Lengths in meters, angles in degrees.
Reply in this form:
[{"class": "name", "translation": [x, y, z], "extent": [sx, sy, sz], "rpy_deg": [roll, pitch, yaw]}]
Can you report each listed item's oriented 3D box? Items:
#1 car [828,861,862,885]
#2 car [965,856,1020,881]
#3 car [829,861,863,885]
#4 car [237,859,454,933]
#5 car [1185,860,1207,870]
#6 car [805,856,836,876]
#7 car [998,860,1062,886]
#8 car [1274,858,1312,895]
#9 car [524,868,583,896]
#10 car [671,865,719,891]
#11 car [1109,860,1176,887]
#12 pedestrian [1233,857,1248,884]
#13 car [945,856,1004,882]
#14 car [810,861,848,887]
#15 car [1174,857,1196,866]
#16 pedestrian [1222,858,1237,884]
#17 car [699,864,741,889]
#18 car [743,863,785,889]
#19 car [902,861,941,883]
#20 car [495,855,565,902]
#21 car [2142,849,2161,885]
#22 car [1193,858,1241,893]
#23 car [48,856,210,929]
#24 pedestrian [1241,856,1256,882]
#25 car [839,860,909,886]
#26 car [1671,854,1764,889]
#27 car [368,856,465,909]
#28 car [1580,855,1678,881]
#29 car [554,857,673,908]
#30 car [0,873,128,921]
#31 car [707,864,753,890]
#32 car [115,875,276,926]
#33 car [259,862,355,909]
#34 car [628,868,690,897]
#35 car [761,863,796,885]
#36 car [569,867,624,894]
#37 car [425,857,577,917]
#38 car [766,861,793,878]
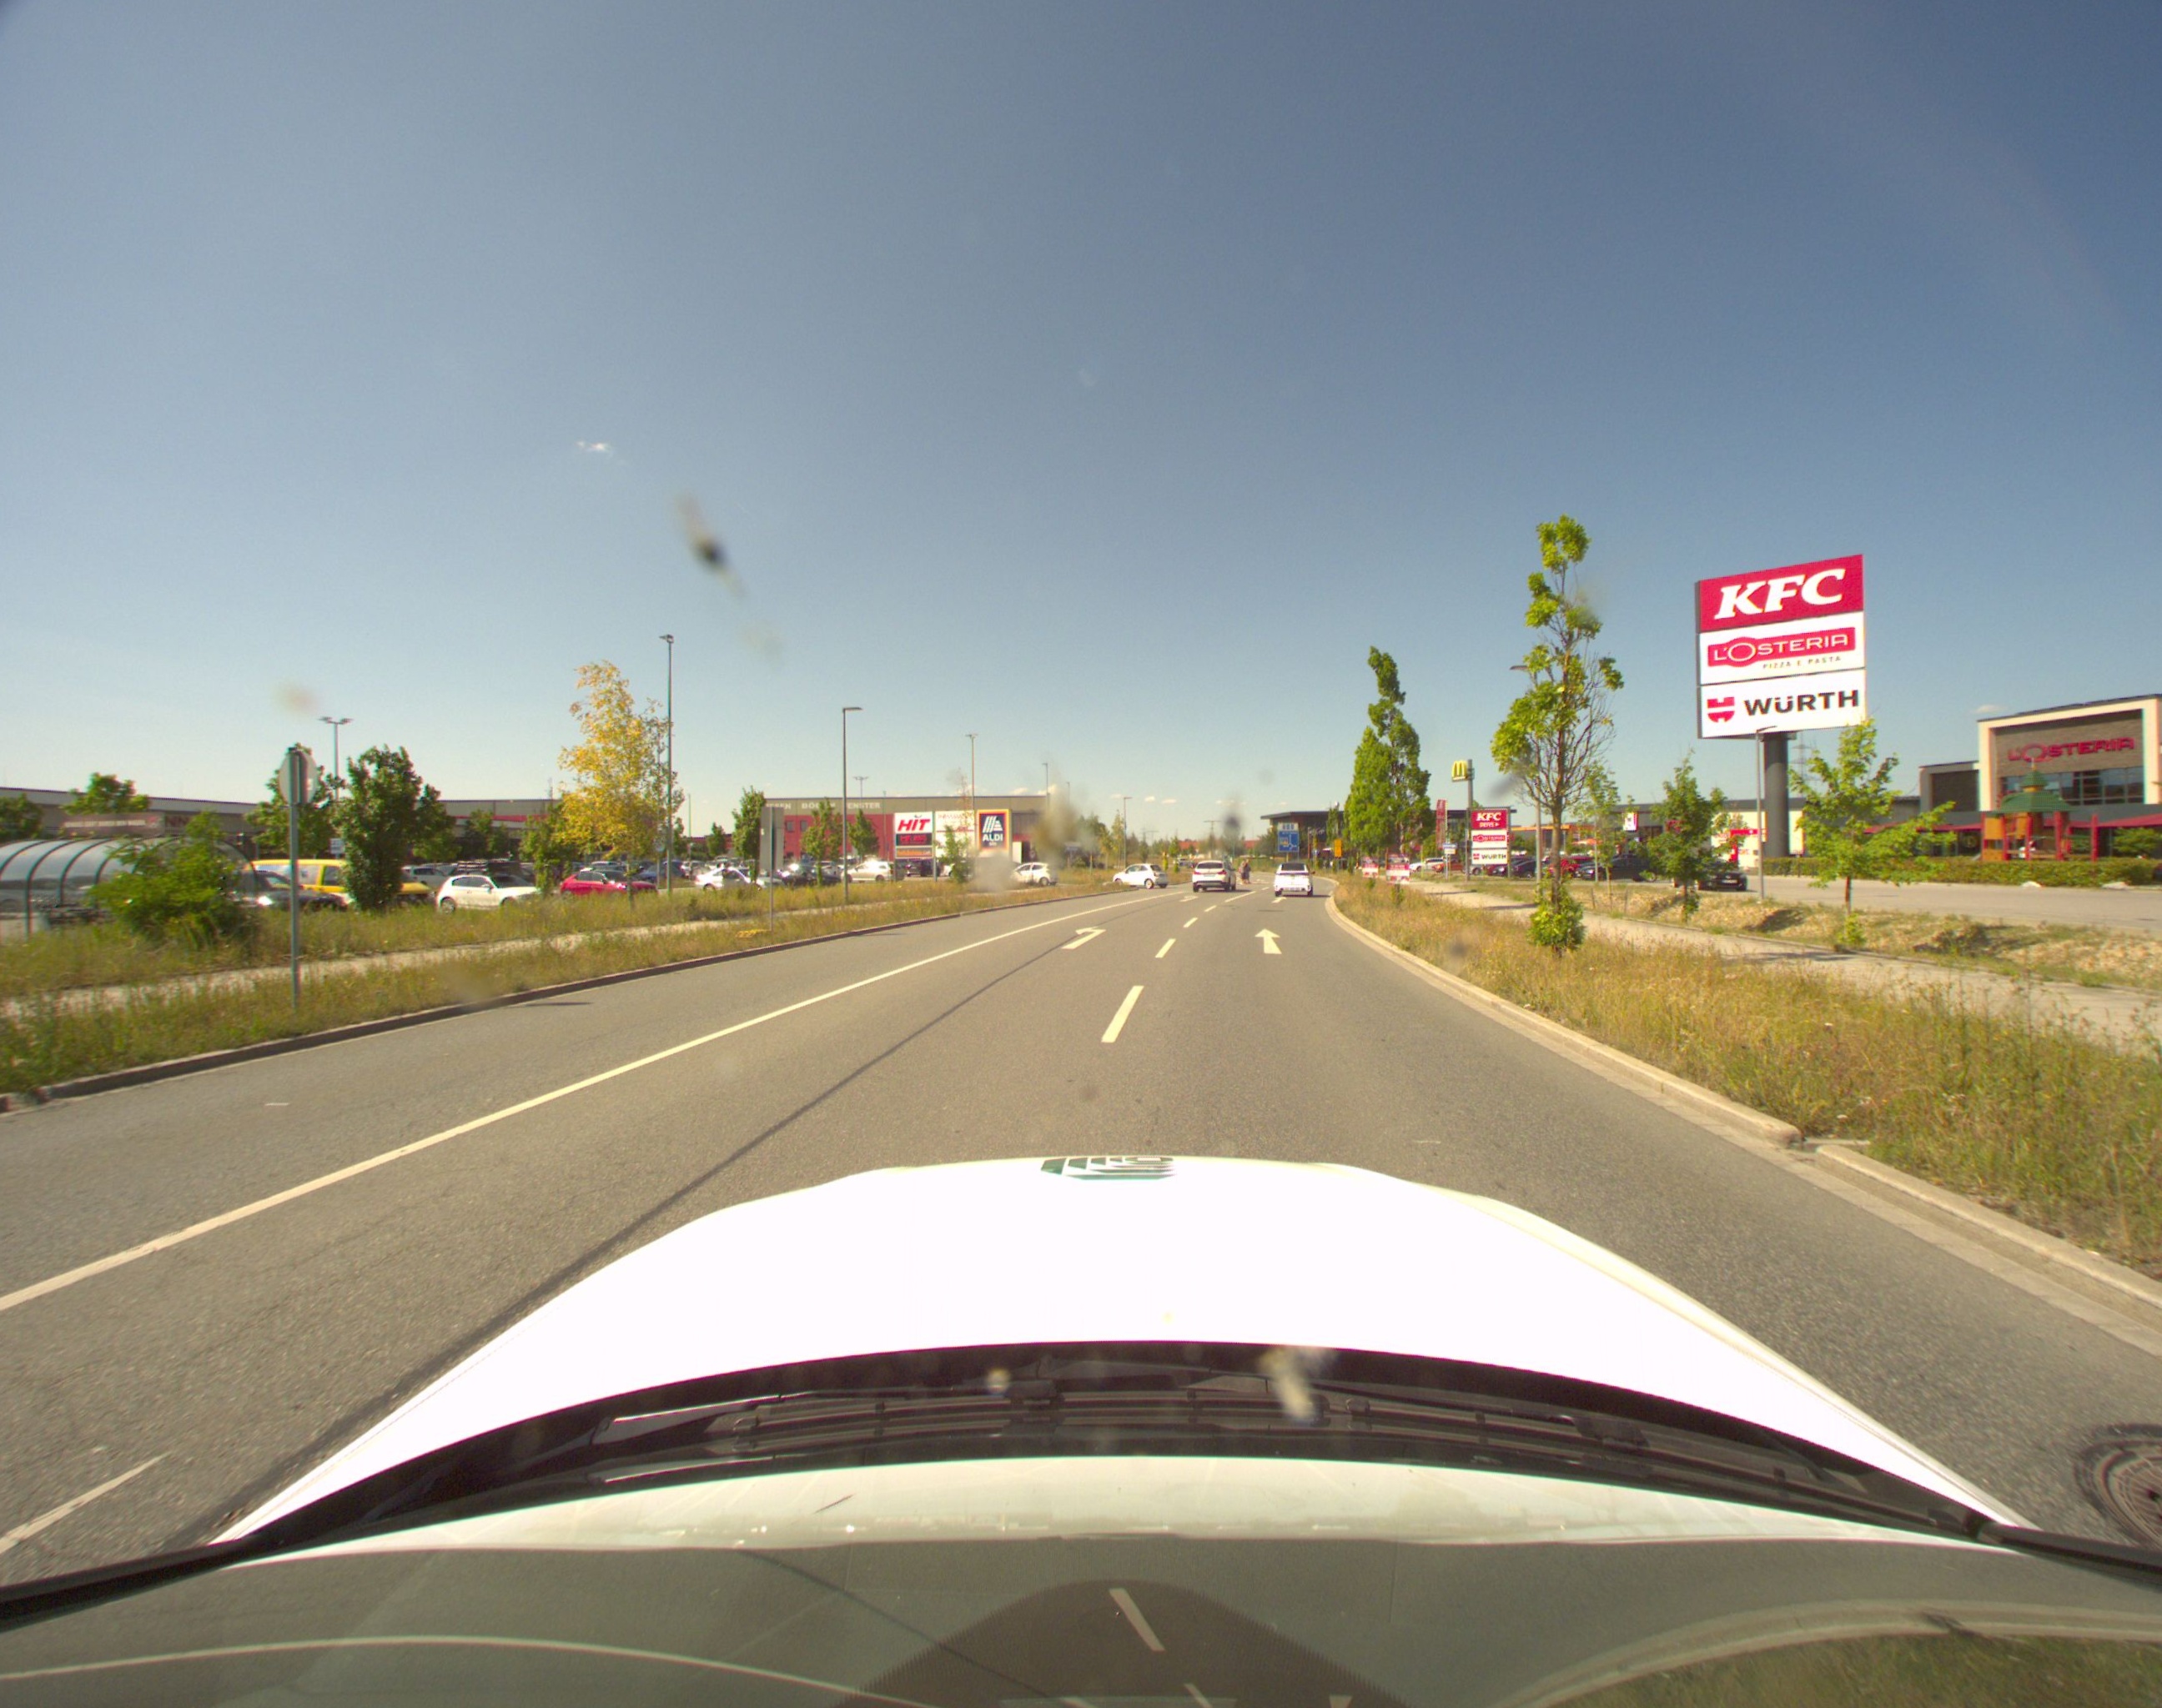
[{"class": "car", "translation": [-21.478, 1.671, 74.186], "extent": [1.989, 2.038, 4.479], "rpy_deg": [-2, 0, -3]}, {"class": "car", "translation": [-7.828, 1.259, 72.518], "extent": [4.445, 2.038, 2.004], "rpy_deg": [-2, -1, 8]}, {"class": "car", "translation": [-21.350, 1.668, 74.210], "extent": [1.989, 2.038, 4.479], "rpy_deg": [-2, 0, -3]}, {"class": "car", "translation": [-21.582, 1.209, 23.956], "extent": [5.064, 2.013, 2.172], "rpy_deg": [-1, 0, 13]}, {"class": "car", "translation": [19.255, 1.845, 136.481], "extent": [1.830, 1.541, 3.970], "rpy_deg": [-1, 0, -22]}, {"class": "car", "translation": [-27.287, 1.263, 85.322], "extent": [1.989, 2.038, 4.479], "rpy_deg": [-2, 0, -3]}, {"class": "car", "translation": [-3.289, 1.252, 52.993], "extent": [3.742, 1.551, 1.749], "rpy_deg": [-2, -1, 16]}, {"class": "car", "translation": [9.270, 0.960, 35.466], "extent": [1.463, 1.490, 3.014], "rpy_deg": [-1, 0, 16]}, {"class": "car", "translation": [-42.379, 2.224, 65.558], "extent": [1.989, 2.038, 4.479], "rpy_deg": [-2, 0, -3]}, {"class": "car", "translation": [-31.857, 1.927, 67.289], "extent": [1.989, 2.038, 4.479], "rpy_deg": [-2, 0, -3]}, {"class": "car", "translation": [3.735, 1.222, 50.069], "extent": [3.734, 1.551, 1.752], "rpy_deg": [-2, -1, 39]}, {"class": "pedestrian", "translation": [10.350, 1.067, 52.779], "extent": [0.658, 1.664, 0.715], "rpy_deg": [-1, -1, 43]}, {"class": "car", "translation": [-8.794, 1.252, 67.581], "extent": [4.445, 2.038, 2.004], "rpy_deg": [-2, -1, 8]}, {"class": "car", "translation": [-21.019, 1.615, 68.148], "extent": [1.989, 2.038, 4.479], "rpy_deg": [-2, 0, -3]}, {"class": "car", "translation": [20.991, 1.509, 163.811], "extent": [4.011, 1.728, 1.981], "rpy_deg": [-1, 0, -29]}, {"class": "pedestrian", "translation": [9.681, 1.090, 53.112], "extent": [0.658, 1.664, 0.715], "rpy_deg": [-1, -1, 43]}, {"class": "car", "translation": [-32.241, 1.978, 72.859], "extent": [1.989, 2.038, 4.479], "rpy_deg": [-2, 0, -3]}, {"class": "car", "translation": [-26.520, 1.778, 68.297], "extent": [1.989, 2.038, 4.479], "rpy_deg": [-2, 0, -3]}, {"class": "car", "translation": [-14.029, 1.574, 71.781], "extent": [1.983, 1.761, 4.493], "rpy_deg": [-2, 0, 7]}, {"class": "car", "translation": [-35.585, 1.542, 52.718], "extent": [1.993, 2.821, 4.470], "rpy_deg": [-2, -1, -9]}, {"class": "car", "translation": [41.456, 0.439, 28.971], "extent": [1.829, 1.338, 4.131], "rpy_deg": [-1, -1, -16]}, {"class": "car", "translation": [6.853, 1.036, 40.740], "extent": [1.722, 1.551, 4.590], "rpy_deg": [-2, 0, 17]}, {"class": "car", "translation": [-40.119, 1.546, 34.525], "extent": [1.993, 2.821, 4.470], "rpy_deg": [-2, -1, -9]}, {"class": "pedestrian", "translation": [10.953, 1.003, 53.259], "extent": [0.658, 1.664, 0.715], "rpy_deg": [-1, -1, 43]}, {"class": "car", "translation": [-14.452, 1.339, 56.889], "extent": [4.430, 1.715, 2.011], "rpy_deg": [-2, -1, 23]}, {"class": "car", "translation": [27.942, 0.744, 35.933], "extent": [1.857, 1.465, 4.384], "rpy_deg": [-1, -1, 18]}, {"class": "car", "translation": [-37.877, 1.566, 46.597], "extent": [1.989, 2.821, 4.479], "rpy_deg": [-2, 0, -3]}, {"class": "car", "translation": [32.819, 0.840, 48.890], "extent": [4.489, 1.458, 2.006], "rpy_deg": [-1, -1, 11]}, {"class": "car", "translation": [-19.328, 1.152, 33.711], "extent": [4.094, 2.014, 1.890], "rpy_deg": [-1, -1, 15]}, {"class": "car", "translation": [-36.745, 1.501, 28.517], "extent": [1.645, 1.520, 4.347], "rpy_deg": [-2, 0, -1]}, {"class": "car", "translation": [-29.101, 1.849, 67.706], "extent": [1.989, 2.038, 4.479], "rpy_deg": [-2, 0, -3]}, {"class": "car", "translation": [-37.299, 1.894, 34.505], "extent": [1.989, 1.863, 4.479], "rpy_deg": [-2, 0, -3]}, {"class": "car", "translation": [-49.506, 1.947, 52.222], "extent": [1.989, 2.821, 4.479], "rpy_deg": [-2, 0, -3]}, {"class": "car", "translation": [-27.771, 1.839, 53.778], "extent": [1.989, 1.784, 4.310], "rpy_deg": [-2, 0, -3]}, {"class": "car", "translation": [-30.312, 1.983, 81.664], "extent": [1.989, 2.038, 4.479], "rpy_deg": [-2, 0, -3]}, {"class": "car", "translation": [-39.359, 2.140, 66.291], "extent": [1.989, 2.038, 4.479], "rpy_deg": [-2, 0, -3]}, {"class": "car", "translation": [-20.588, 1.150, 28.947], "extent": [4.365, 2.014, 1.951], "rpy_deg": [-1, -1, 13]}, {"class": "car", "translation": [-38.258, 1.968, 103.376], "extent": [1.989, 2.038, 4.479], "rpy_deg": [-2, 0, -3]}]
